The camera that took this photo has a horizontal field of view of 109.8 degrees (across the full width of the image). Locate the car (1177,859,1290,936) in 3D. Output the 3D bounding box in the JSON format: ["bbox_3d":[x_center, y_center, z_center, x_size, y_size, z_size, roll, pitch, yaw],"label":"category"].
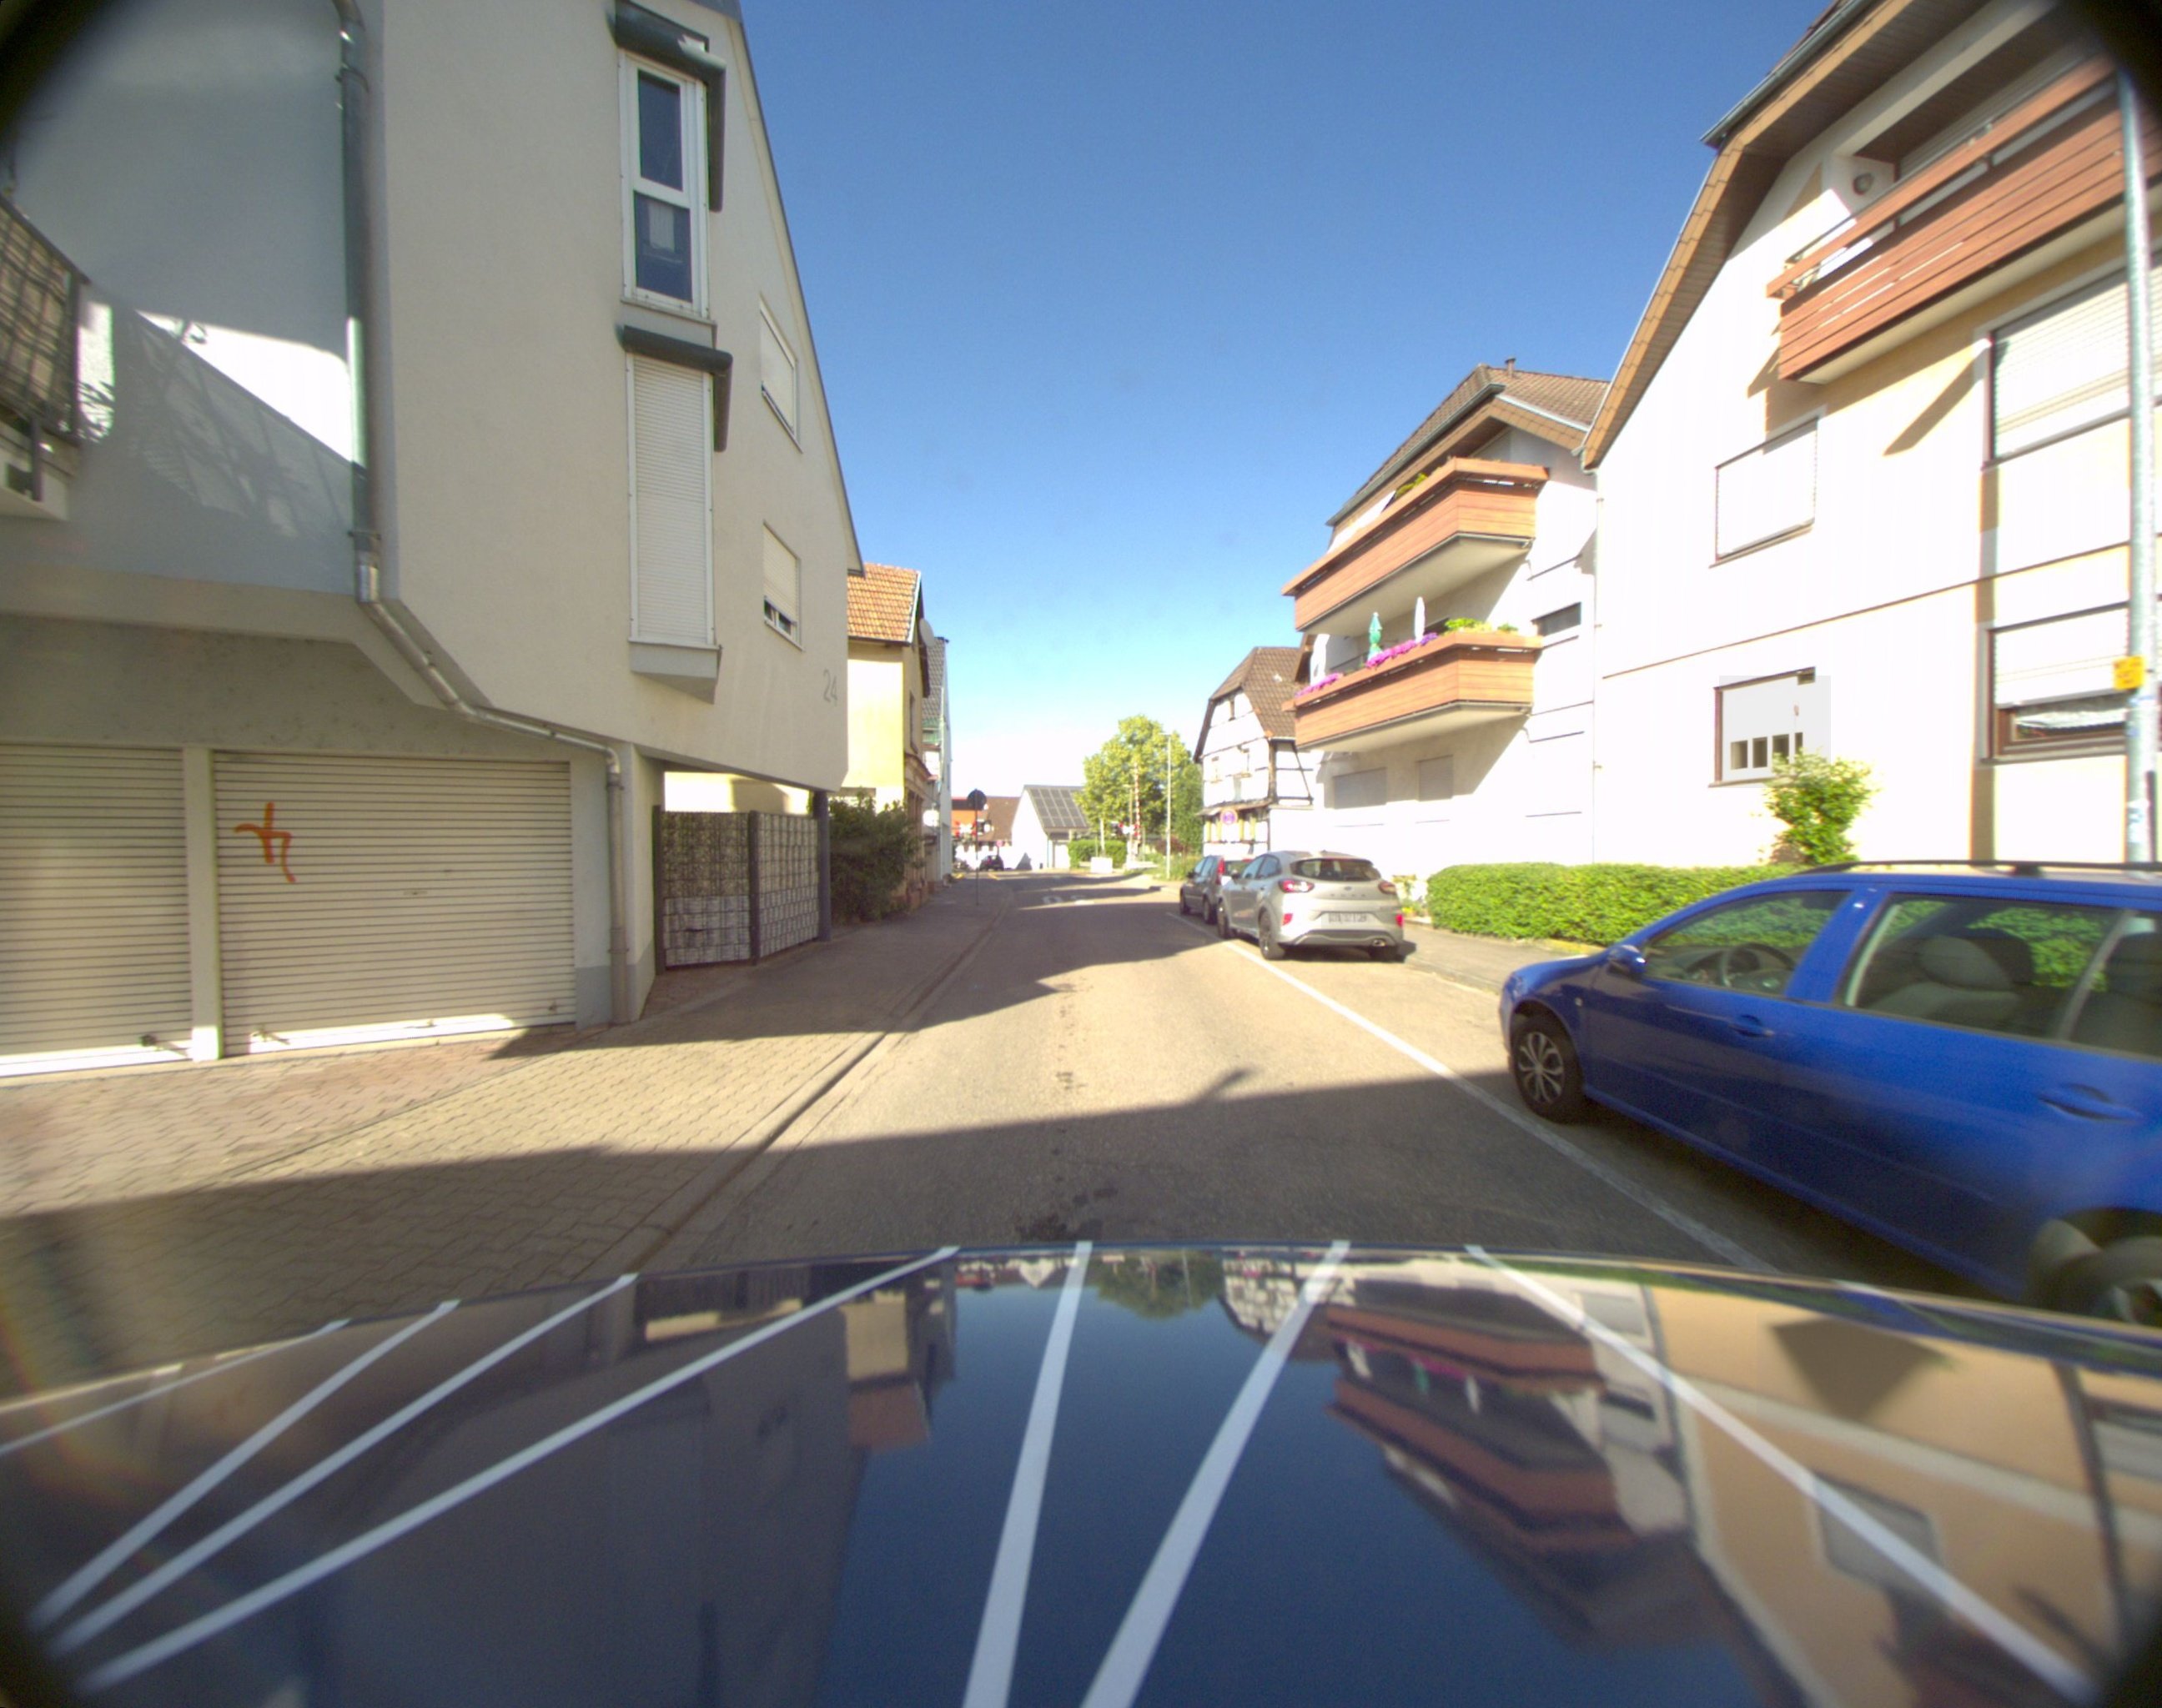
[{"bbox_3d":[3.232,0.878,16.749,1.628,1.468,3.615,1,0,-2],"label":"car"}]

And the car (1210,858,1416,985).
[{"bbox_3d":[3.260,0.869,11.539,1.763,1.547,3.999,1,0,-2],"label":"car"}]

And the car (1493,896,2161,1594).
[{"bbox_3d":[3.284,0.980,2.560,1.622,1.431,3.956,1,0,0],"label":"car"}]

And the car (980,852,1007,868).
[{"bbox_3d":[-7.967,0.516,69.283,1.549,1.450,3.708,0,0,-21],"label":"car"}]
